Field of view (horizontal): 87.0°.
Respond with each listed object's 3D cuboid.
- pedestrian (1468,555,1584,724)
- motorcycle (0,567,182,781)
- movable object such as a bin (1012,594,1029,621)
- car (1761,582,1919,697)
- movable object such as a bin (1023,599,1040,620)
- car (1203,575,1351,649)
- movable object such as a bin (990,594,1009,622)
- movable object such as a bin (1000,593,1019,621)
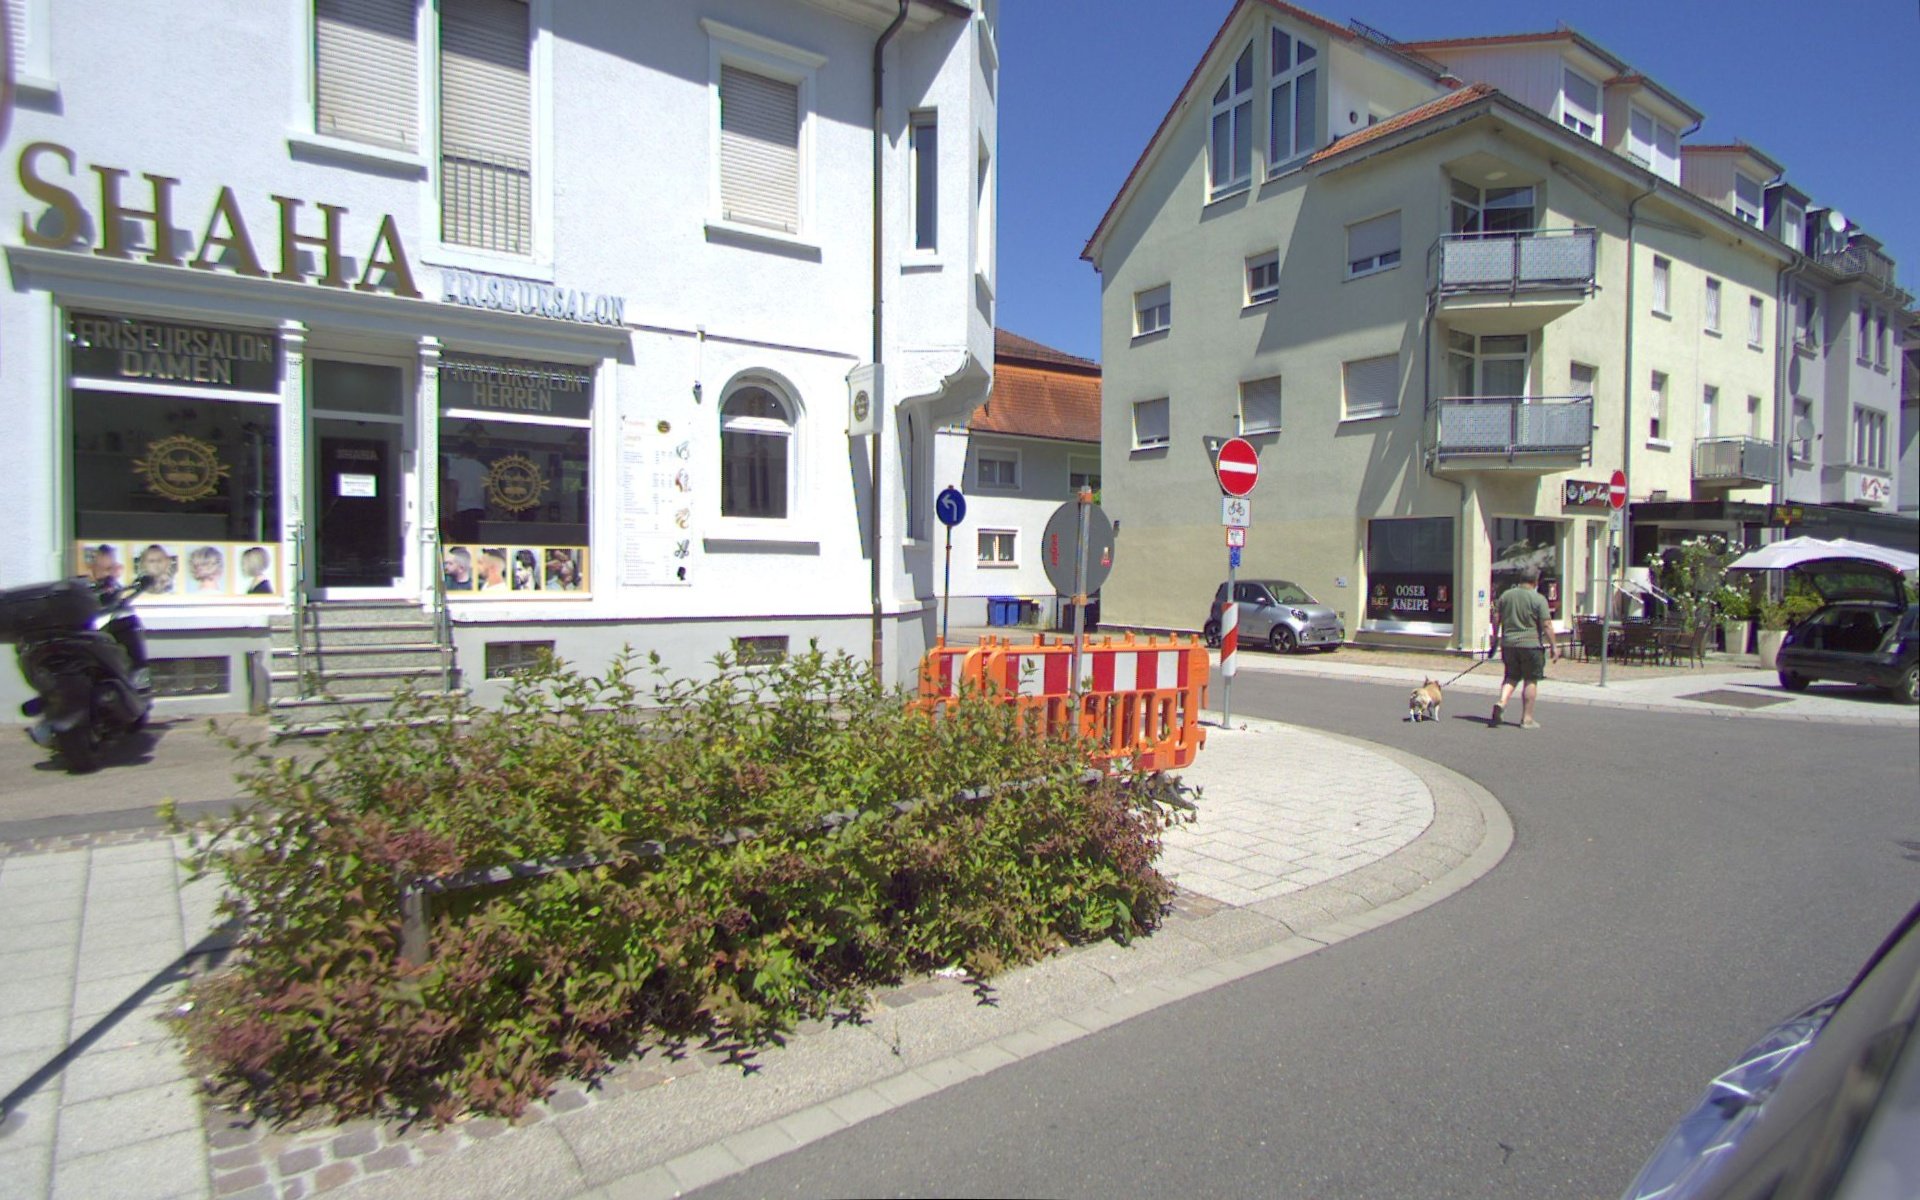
[{"bbox_3d":[6.356,0.426,11.379,0.826,1.819,0.749,1,0,-25],"label":"pedestrian"},{"bbox_3d":[-6.225,0.431,7.230,0.839,1.291,2.386,0,1,-32],"label":"motorcycle"},{"bbox_3d":[2.302,0.281,38.426,0.454,1.024,0.462,1,0,-36],"label":"movable object such as a bin"},{"bbox_3d":[14.518,0.524,15.463,3.780,1.509,1.883,0,3,-22],"label":"car"},{"bbox_3d":[2.733,0.374,38.711,0.448,0.783,0.462,1,0,-36],"label":"movable object such as a bin"},{"bbox_3d":[6.860,0.218,22.062,1.501,1.489,2.738,-2,1,-33],"label":"car"},{"bbox_3d":[1.461,0.282,37.822,0.502,1.024,0.462,1,0,-36],"label":"movable object such as a bin"},{"bbox_3d":[1.876,0.270,38.136,0.508,1.024,0.462,1,0,-36],"label":"movable object such as a bin"}]
